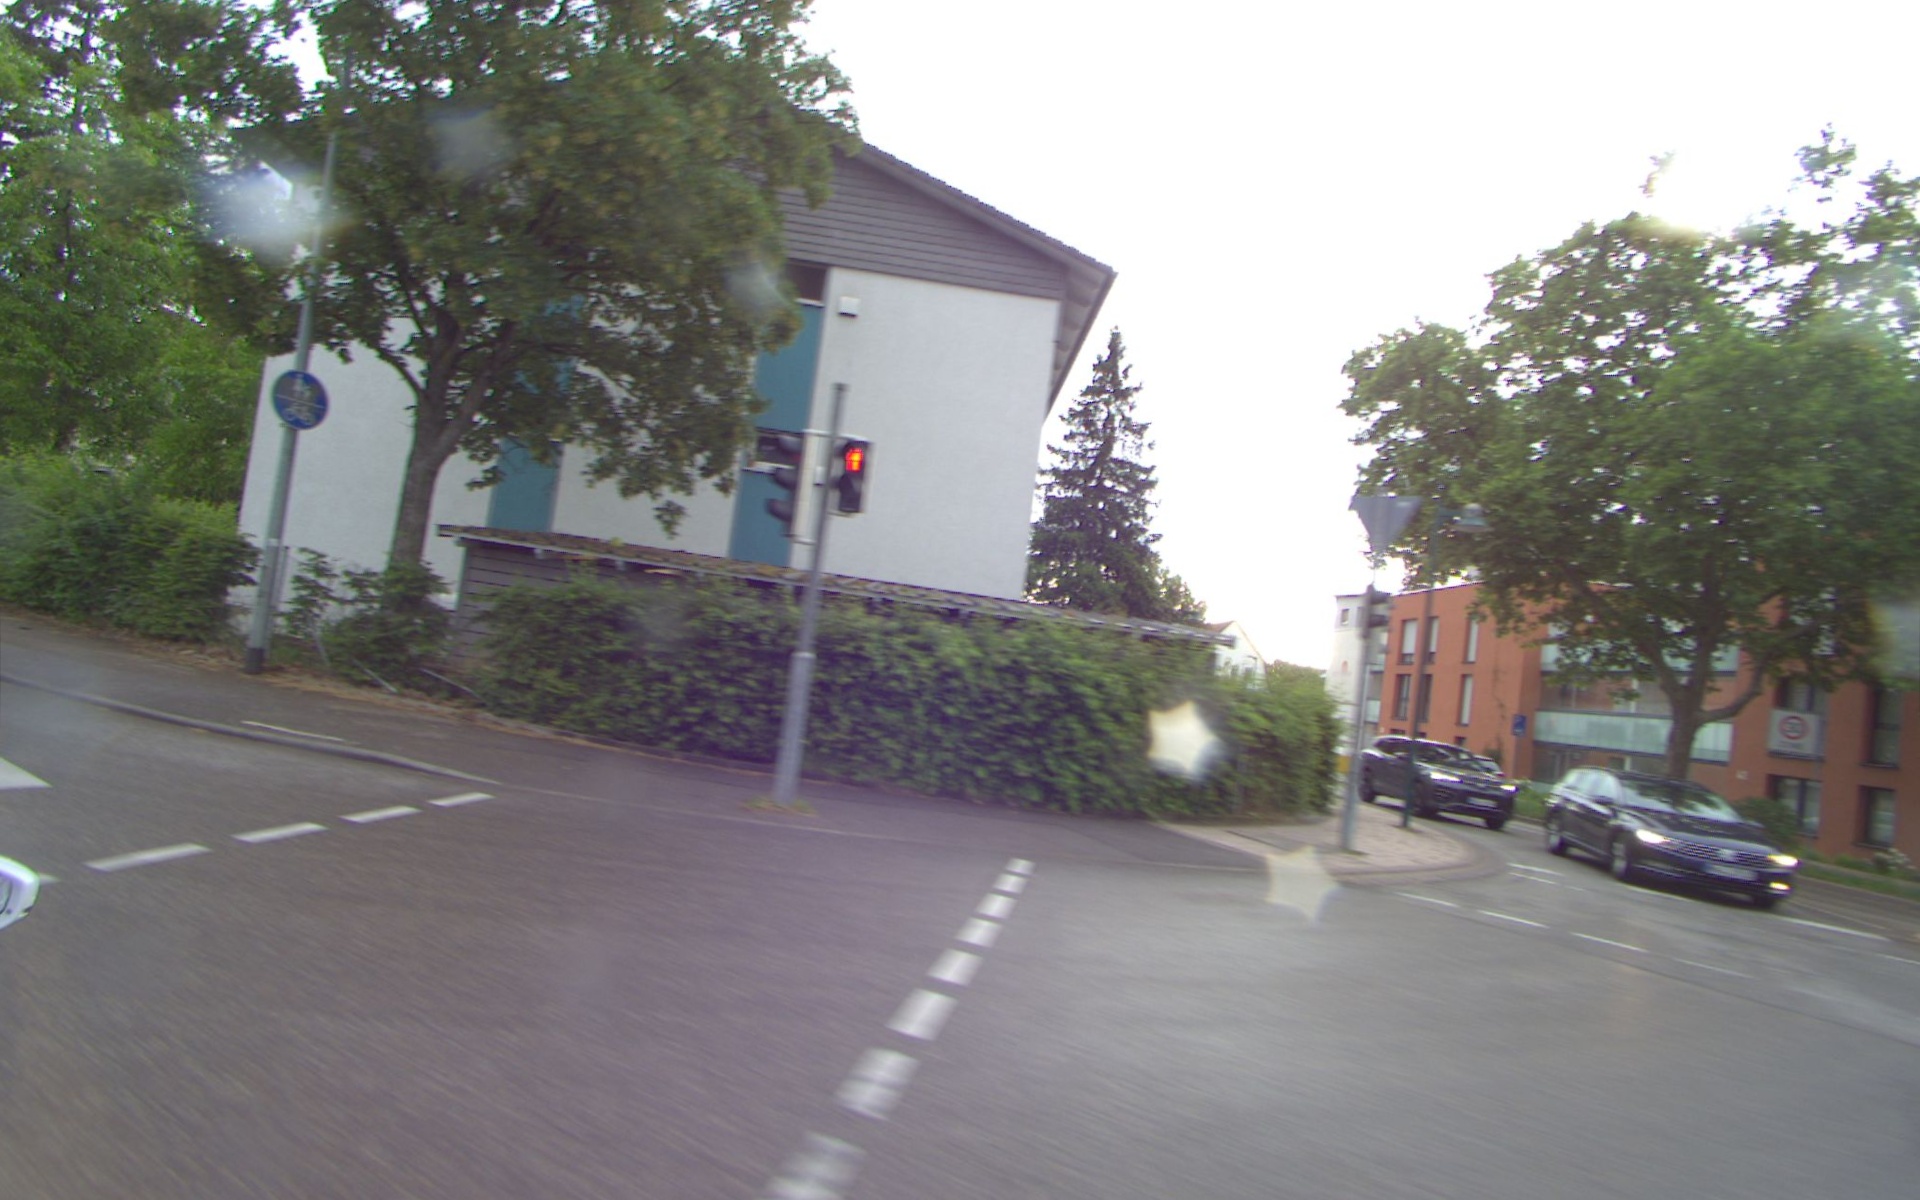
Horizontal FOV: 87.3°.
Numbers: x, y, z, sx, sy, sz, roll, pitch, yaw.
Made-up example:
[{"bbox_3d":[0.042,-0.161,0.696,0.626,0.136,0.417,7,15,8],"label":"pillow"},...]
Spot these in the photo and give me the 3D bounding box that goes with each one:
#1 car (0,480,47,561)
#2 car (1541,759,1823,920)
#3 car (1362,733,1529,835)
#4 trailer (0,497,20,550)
[{"bbox_3d":[-24.334,-2.247,23.299,1.952,1.768,4.222,9,-3,34],"label":"car"},{"bbox_3d":[9.881,3.199,14.202,1.853,1.477,4.169,7,-5,17],"label":"car"},{"bbox_3d":[10.383,3.897,21.865,1.774,1.571,3.944,8,-4,4],"label":"car"},{"bbox_3d":[-26.768,-2.360,25.160,1.546,1.302,4.409,9,-3,33],"label":"trailer"}]
